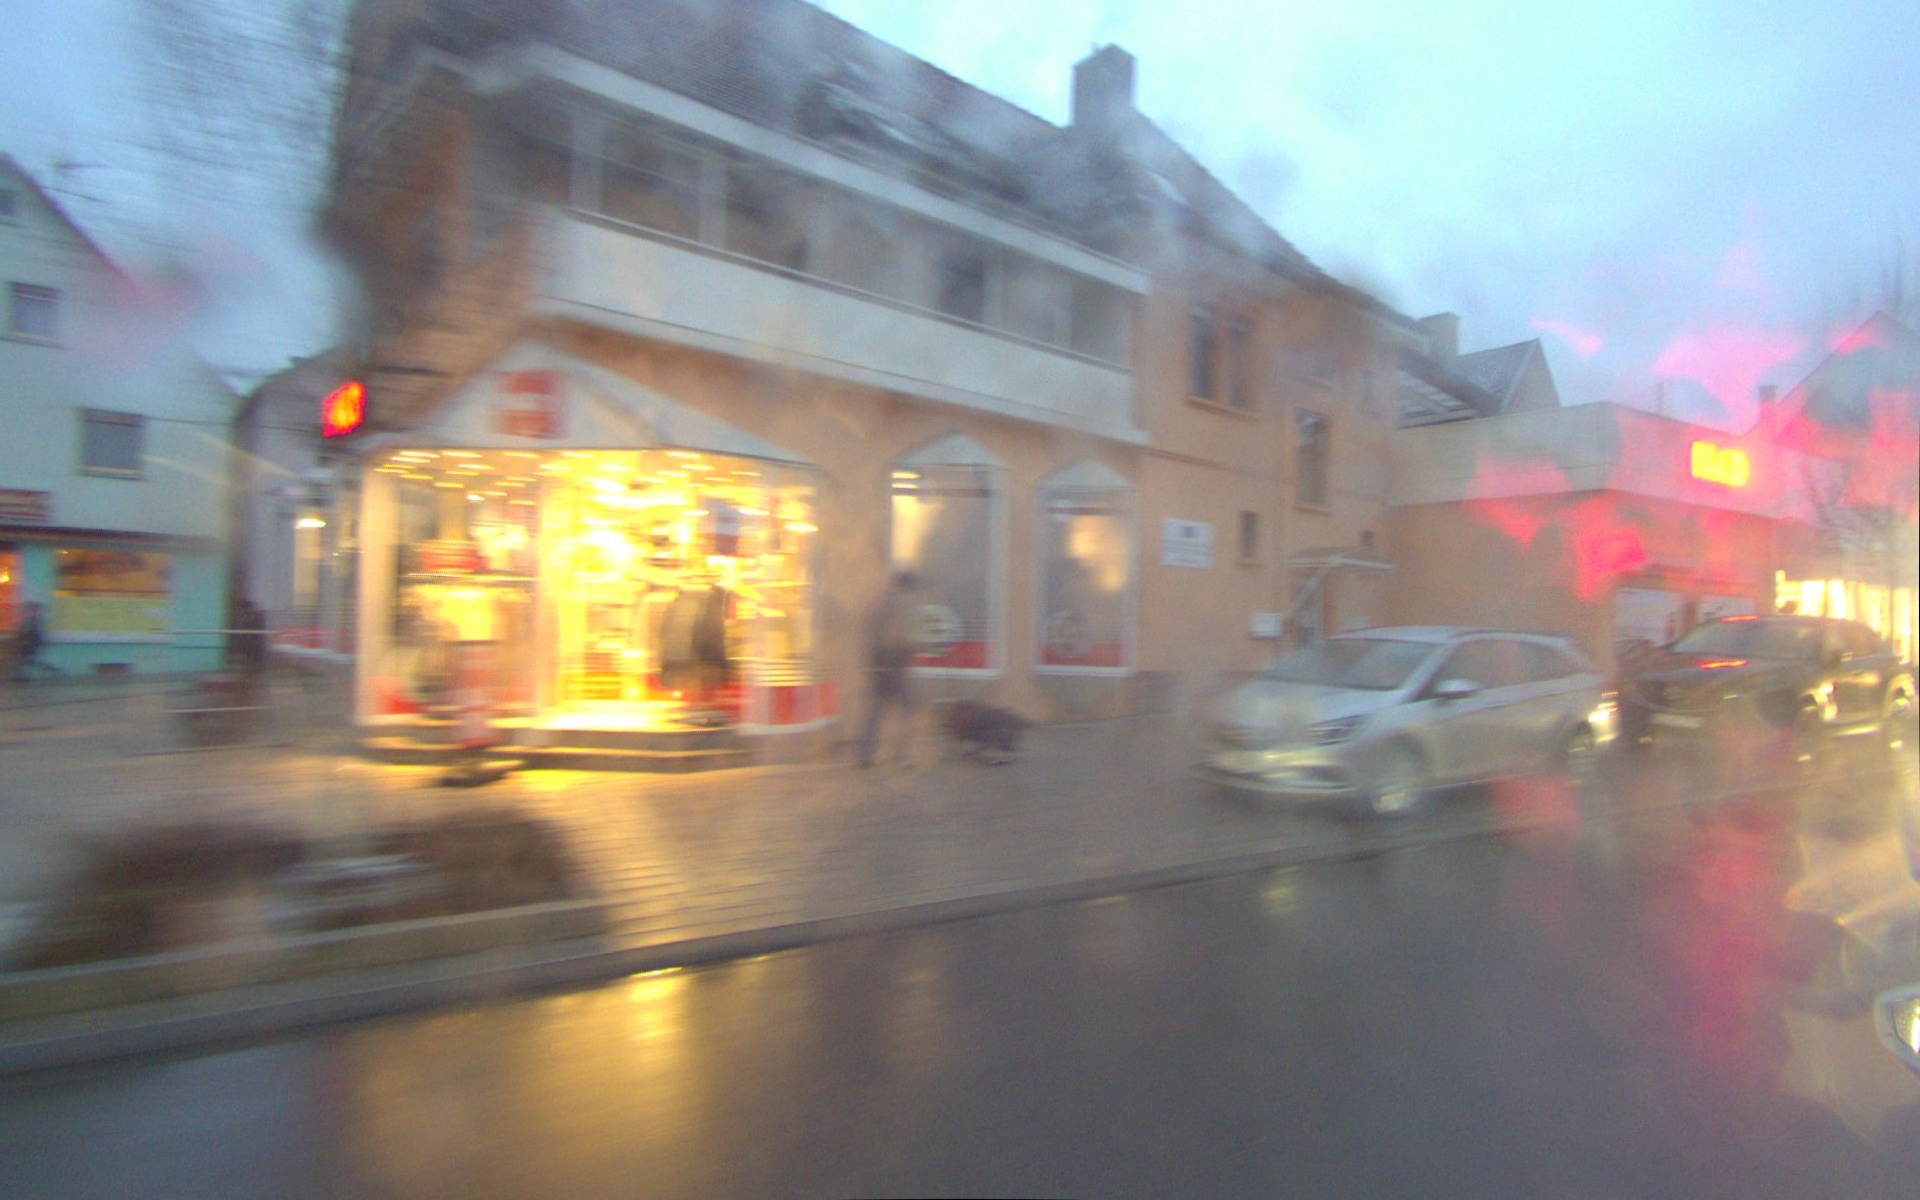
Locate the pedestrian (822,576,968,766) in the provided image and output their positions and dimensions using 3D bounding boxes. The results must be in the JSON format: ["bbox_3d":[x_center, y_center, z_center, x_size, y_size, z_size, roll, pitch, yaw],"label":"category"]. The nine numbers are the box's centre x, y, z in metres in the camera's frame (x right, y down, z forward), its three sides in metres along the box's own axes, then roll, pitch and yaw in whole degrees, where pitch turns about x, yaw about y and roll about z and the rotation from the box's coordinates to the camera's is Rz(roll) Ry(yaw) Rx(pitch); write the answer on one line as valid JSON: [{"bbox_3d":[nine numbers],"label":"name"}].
[{"bbox_3d":[-0.619,0.631,9.526,1.086,1.680,0.821,1,1,-34],"label":"pedestrian"}]

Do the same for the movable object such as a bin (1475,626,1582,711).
[{"bbox_3d":[9.641,1.156,17.053,0.882,1.371,1.329,2,-4,-40],"label":"movable object such as a bin"}]

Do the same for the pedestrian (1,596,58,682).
[{"bbox_3d":[-19.410,0.812,20.946,0.835,1.738,0.908,1,-2,-44],"label":"pedestrian"}]

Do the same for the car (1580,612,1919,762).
[{"bbox_3d":[10.079,0.960,12.545,4.921,1.543,1.983,1,-1,-31],"label":"car"}]

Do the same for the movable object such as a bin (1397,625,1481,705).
[{"bbox_3d":[8.700,1.158,18.261,0.845,1.372,1.140,1,0,-41],"label":"movable object such as a bin"}]

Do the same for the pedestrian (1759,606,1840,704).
[{"bbox_3d":[16.840,1.071,20.157,1.000,1.901,0.936,1,0,-29],"label":"pedestrian"}]

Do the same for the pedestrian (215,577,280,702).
[{"bbox_3d":[-12.030,0.652,16.989,0.726,2.040,0.821,1,1,-25],"label":"pedestrian"}]

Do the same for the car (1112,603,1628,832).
[{"bbox_3d":[3.796,0.872,9.098,4.567,1.579,1.983,1,0,-31],"label":"car"}]
